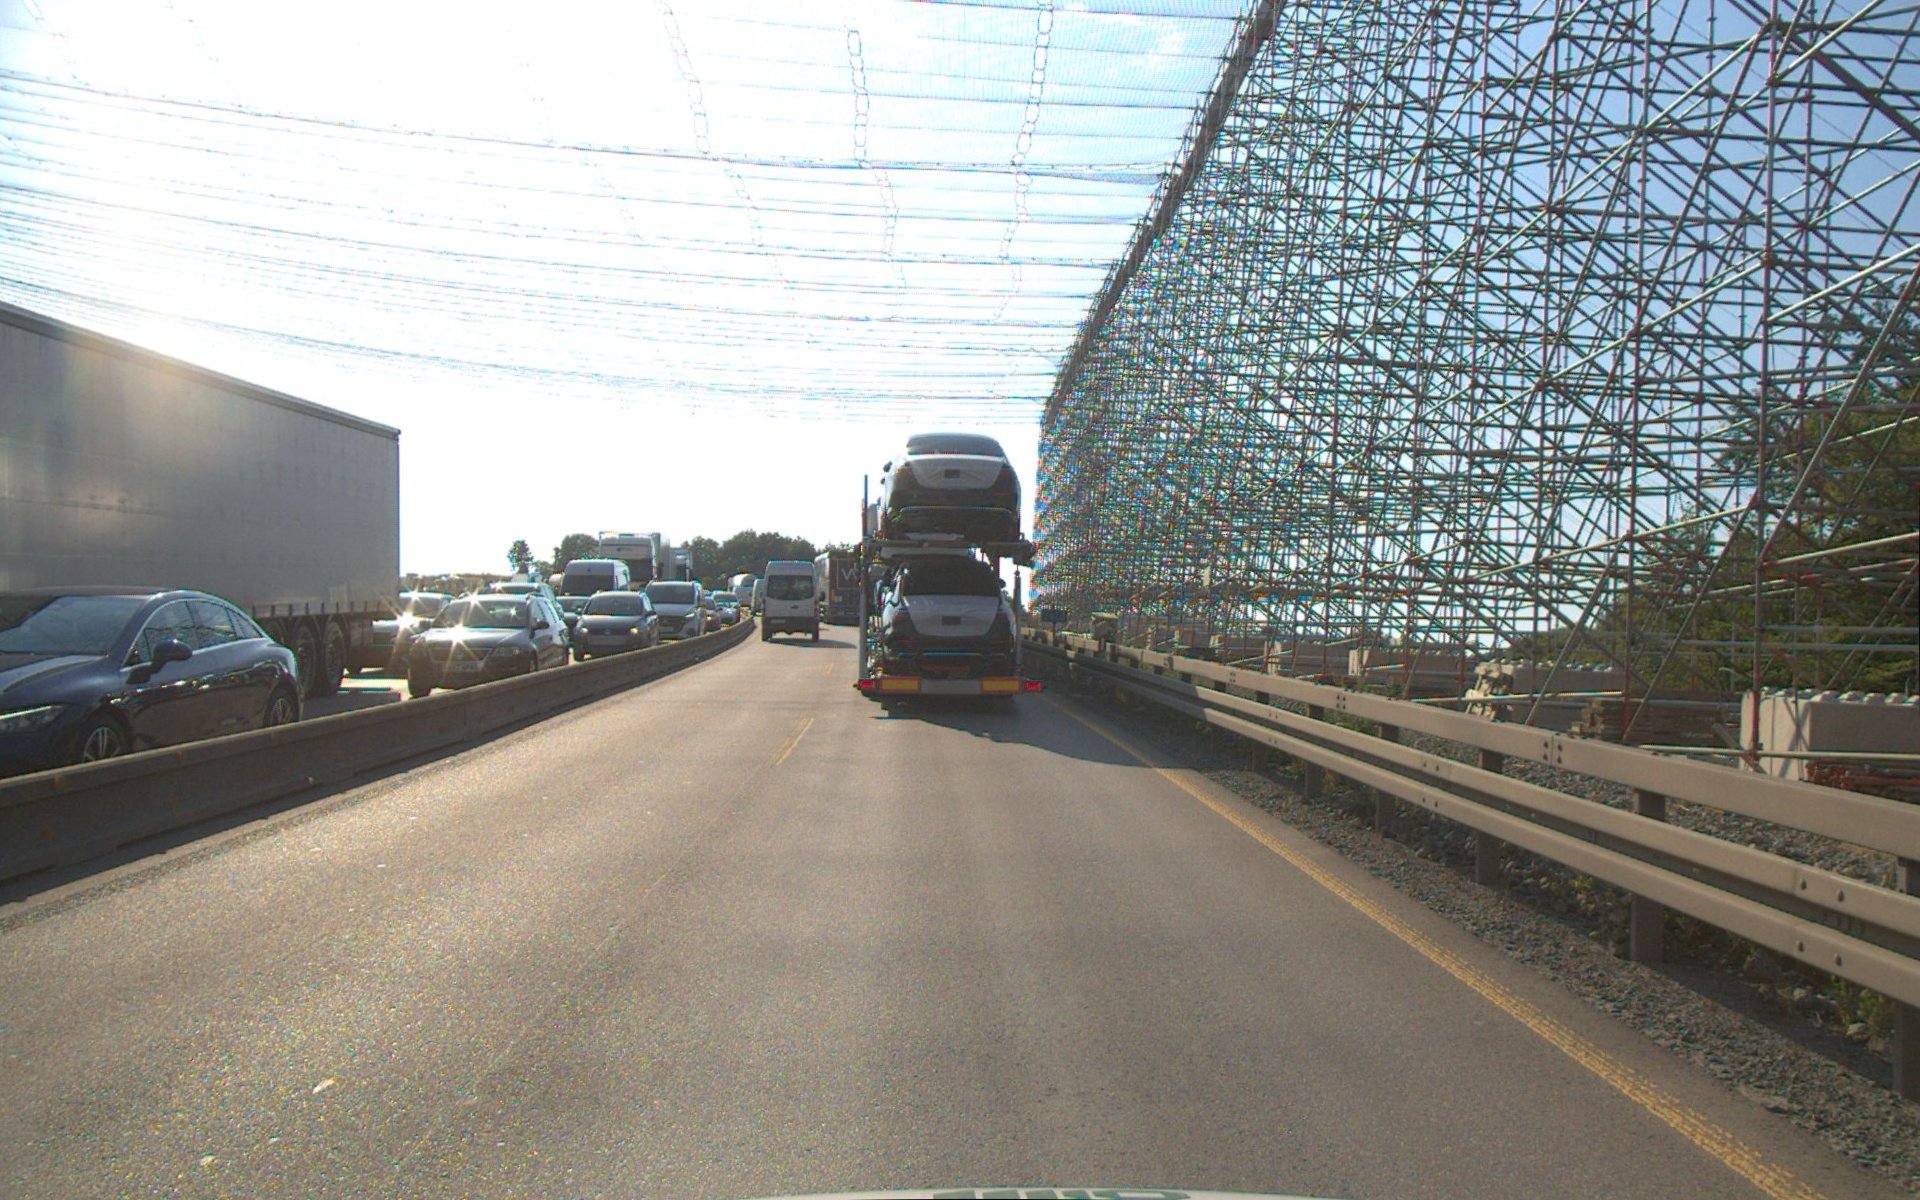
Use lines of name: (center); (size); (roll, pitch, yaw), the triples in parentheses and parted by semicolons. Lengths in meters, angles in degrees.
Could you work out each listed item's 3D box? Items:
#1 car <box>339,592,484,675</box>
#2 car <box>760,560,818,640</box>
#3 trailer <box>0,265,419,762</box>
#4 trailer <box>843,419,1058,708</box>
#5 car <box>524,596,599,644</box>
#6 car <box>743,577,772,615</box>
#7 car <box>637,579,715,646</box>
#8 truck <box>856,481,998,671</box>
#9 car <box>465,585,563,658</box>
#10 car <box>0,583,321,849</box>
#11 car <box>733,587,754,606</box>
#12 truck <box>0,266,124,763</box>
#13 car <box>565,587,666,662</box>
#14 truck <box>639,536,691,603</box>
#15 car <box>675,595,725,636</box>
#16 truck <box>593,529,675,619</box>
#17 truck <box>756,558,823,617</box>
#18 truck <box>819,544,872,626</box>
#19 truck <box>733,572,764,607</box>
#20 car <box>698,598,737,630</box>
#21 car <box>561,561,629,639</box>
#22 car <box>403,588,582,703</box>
car: (-10.576, 0.612, 32.141); (1.632, 1.466, 3.849); (1, 0, -2)
car: (-5.904, 0.028, 56.914); (1.919, 2.667, 3.994); (0, -1, -7)
trailer: (-9.945, -0.782, 20.346); (2.600, 4.307, 13.911); (1, 0, -3)
trailer: (-0.454, -0.414, 29.154); (2.811, 3.790, 14.938); (0, 0, -3)
car: (-11.820, 0.586, 49.229); (1.552, 1.355, 3.996); (0, -1, -5)
car: (-14.510, -0.319, 118.722); (1.955, 2.623, 3.995); (1, 0, -6)
car: (-8.650, 0.355, 50.706); (1.800, 1.926, 3.998); (1, 0, -2)
truck: (-0.782, -0.450, 36.656); (2.824, 3.767, 7.321); (0, -1, -2)
car: (-11.293, 0.522, 42.119); (1.646, 1.713, 3.996); (1, 0, -4)
car: (-6.369, 0.658, 11.966); (1.748, 1.528, 4.752); (1, 0, -2)
car: (-19.670, -0.292, 150.497); (1.677, 1.646, 3.500); (0, -1, -5)
truck: (-9.582, -0.746, 13.545); (2.609, 4.304, 6.100); (0, 0, -3)
car: (-8.139, 0.544, 39.423); (1.661, 1.657, 3.998); (1, 0, -2)
truck: (-16.688, -1.642, 94.196); (2.547, 3.534, 12.366); (1, 0, -9)
car: (-9.953, 0.583, 63.325); (1.803, 1.479, 3.991); (2, 0, -9)
truck: (-14.089, -1.063, 72.277); (2.545, 3.534, 12.372); (1, 0, -7)
truck: (-13.679, -0.901, 131.514); (3.623, 4.294, 13.624); (-3, 0, -12)
truck: (-6.808, -0.834, 97.052); (2.679, 4.462, 11.506); (1, 0, -6)
truck: (-23.655, -1.182, 184.524); (2.570, 3.788, 9.630); (1, 0, -12)
car: (-11.852, 0.657, 80.660); (1.671, 1.479, 3.990); (2, 0, -11)
car: (-12.780, 0.004, 58.106); (1.956, 2.586, 3.993); (1, 0, -8)
car: (-7.079, 0.637, 25.485); (1.707, 1.570, 4.402); (1, 0, -4)
